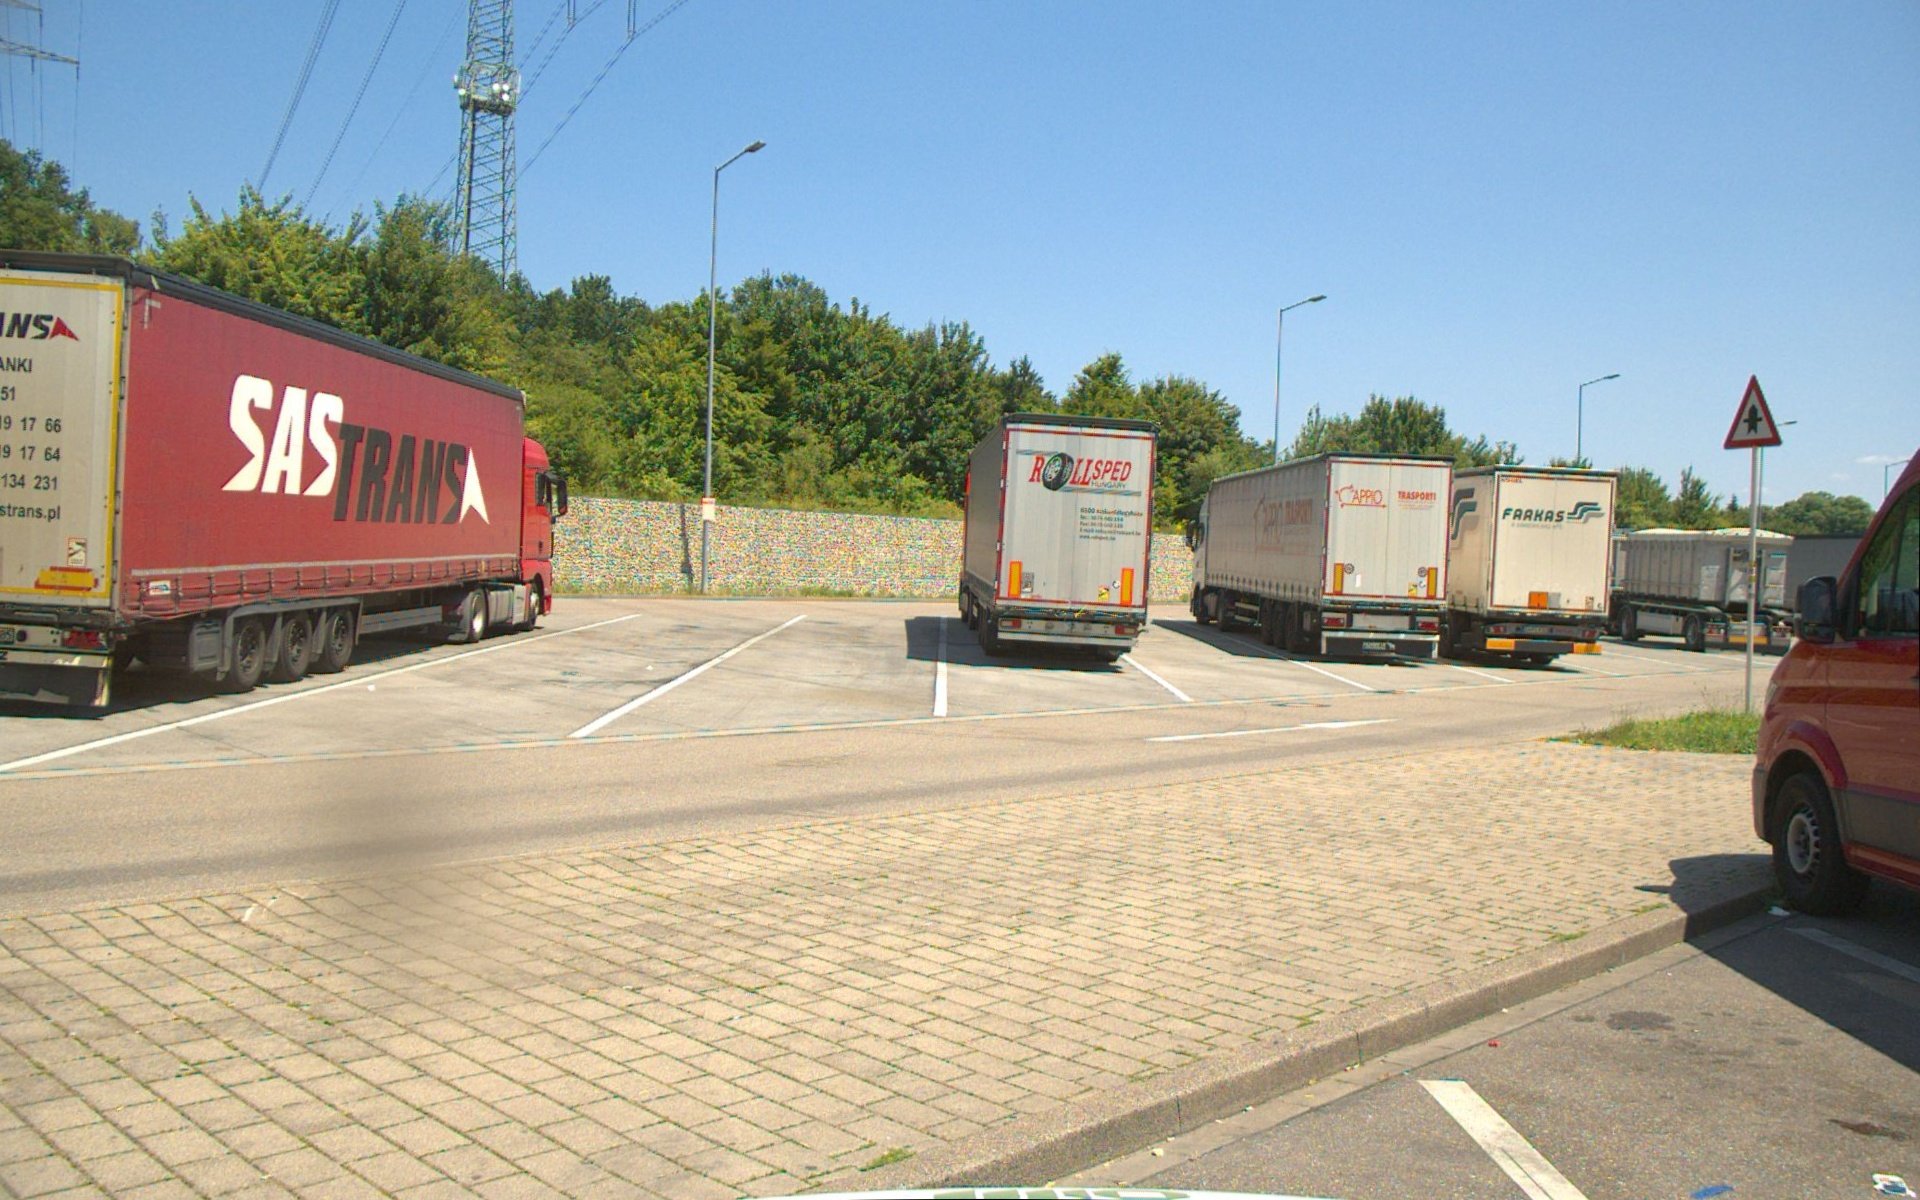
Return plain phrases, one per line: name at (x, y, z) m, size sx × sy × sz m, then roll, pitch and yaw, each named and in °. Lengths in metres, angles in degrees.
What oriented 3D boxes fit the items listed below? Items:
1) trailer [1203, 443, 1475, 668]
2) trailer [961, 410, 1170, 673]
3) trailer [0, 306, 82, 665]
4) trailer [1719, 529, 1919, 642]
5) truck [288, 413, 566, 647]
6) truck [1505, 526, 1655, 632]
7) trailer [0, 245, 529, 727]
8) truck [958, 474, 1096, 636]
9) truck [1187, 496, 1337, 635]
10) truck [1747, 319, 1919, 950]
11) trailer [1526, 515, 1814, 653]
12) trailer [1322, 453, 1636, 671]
trailer at (8.249, -1.102, 38.508) m, size 2.800 × 4.180 × 13.762 m, roll 2°, pitch 2°, yaw -1°
trailer at (1.676, -1.175, 33.154) m, size 2.800 × 4.040 × 13.761 m, roll 2°, pitch 2°, yaw -2°
trailer at (-12.486, -1.256, 15.799) m, size 2.651 × 4.173 × 10.389 m, roll 2°, pitch 2°, yaw -1°
trailer at (34.786, -0.714, 65.452) m, size 2.800 × 3.972 × 13.762 m, roll 2°, pitch 2°, yaw -1°
truck at (-8.799, -1.160, 28.071) m, size 2.755 × 3.421 × 5.974 m, roll 2°, pitch 2°, yaw -1°
truck at (21.736, -0.798, 58.347) m, size 2.808 × 3.421 × 5.974 m, roll 2°, pitch 2°, yaw -1°
trailer at (-8.690, -1.268, 21.256) m, size 2.764 × 4.141 × 13.763 m, roll 2°, pitch 2°, yaw -1°
truck at (1.474, -1.091, 39.351) m, size 2.808 × 3.421 × 5.974 m, roll 2°, pitch 2°, yaw -1°
truck at (8.126, -0.985, 45.270) m, size 2.808 × 3.421 × 5.974 m, roll 2°, pitch 2°, yaw -1°
truck at (4.996, 0.158, 5.523) m, size 1.969 × 2.697 × 6.457 m, roll 1°, pitch 0°, yaw 3°
trailer at (21.834, -0.683, 52.252) m, size 2.800 × 3.662 × 13.762 m, roll 2°, pitch 2°, yaw -1°
trailer at (11.769, -0.992, 39.572) m, size 2.800 × 4.180 × 13.762 m, roll 2°, pitch 2°, yaw -1°
